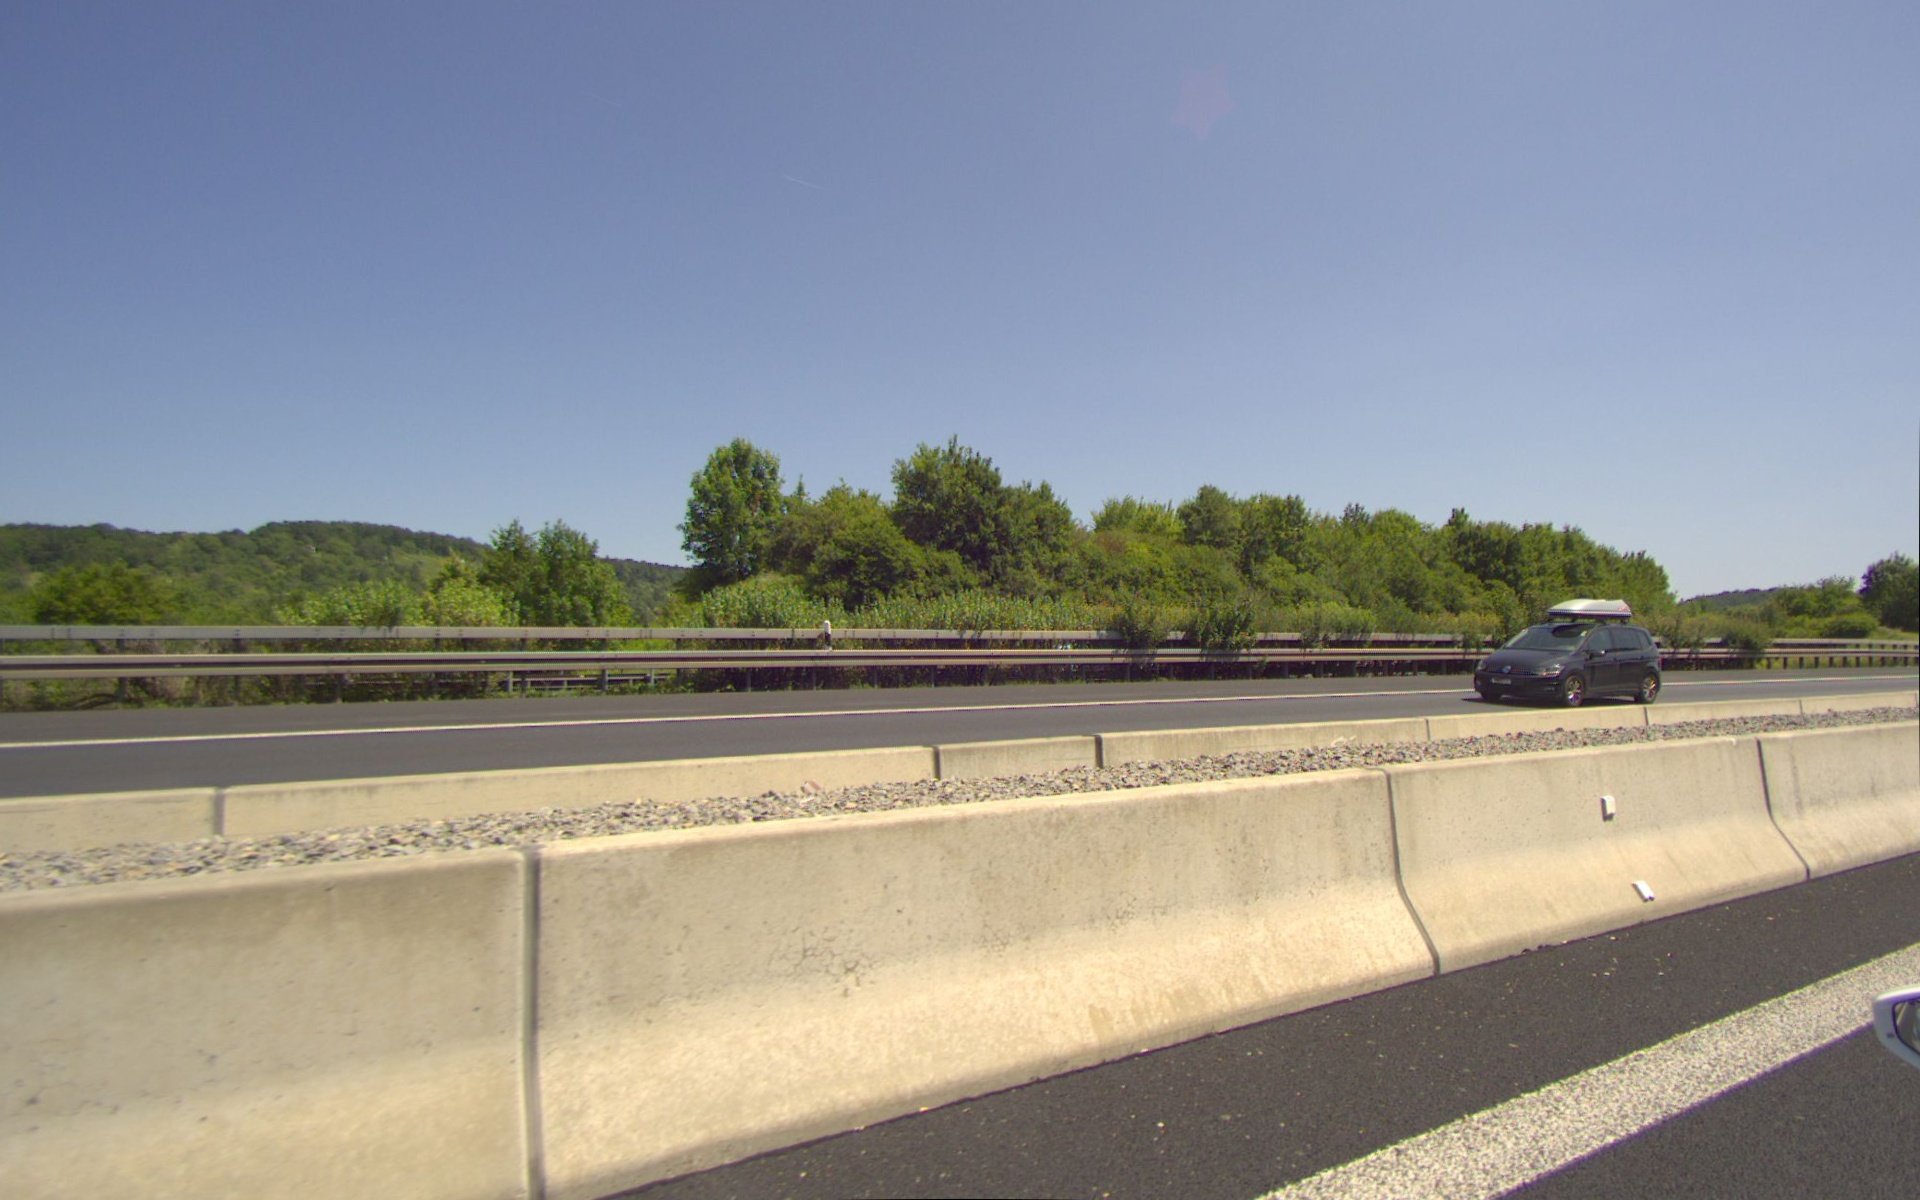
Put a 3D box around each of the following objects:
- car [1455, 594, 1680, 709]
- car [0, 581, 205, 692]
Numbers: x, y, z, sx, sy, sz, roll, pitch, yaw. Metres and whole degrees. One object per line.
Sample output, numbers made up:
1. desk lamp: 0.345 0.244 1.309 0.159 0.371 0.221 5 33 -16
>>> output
1. car: 12.416 1.015 20.475 4.649 2.109 1.984 2 -1 -31
2. car: -16.483 0.660 18.128 4.382 1.882 1.983 1 -2 -33
